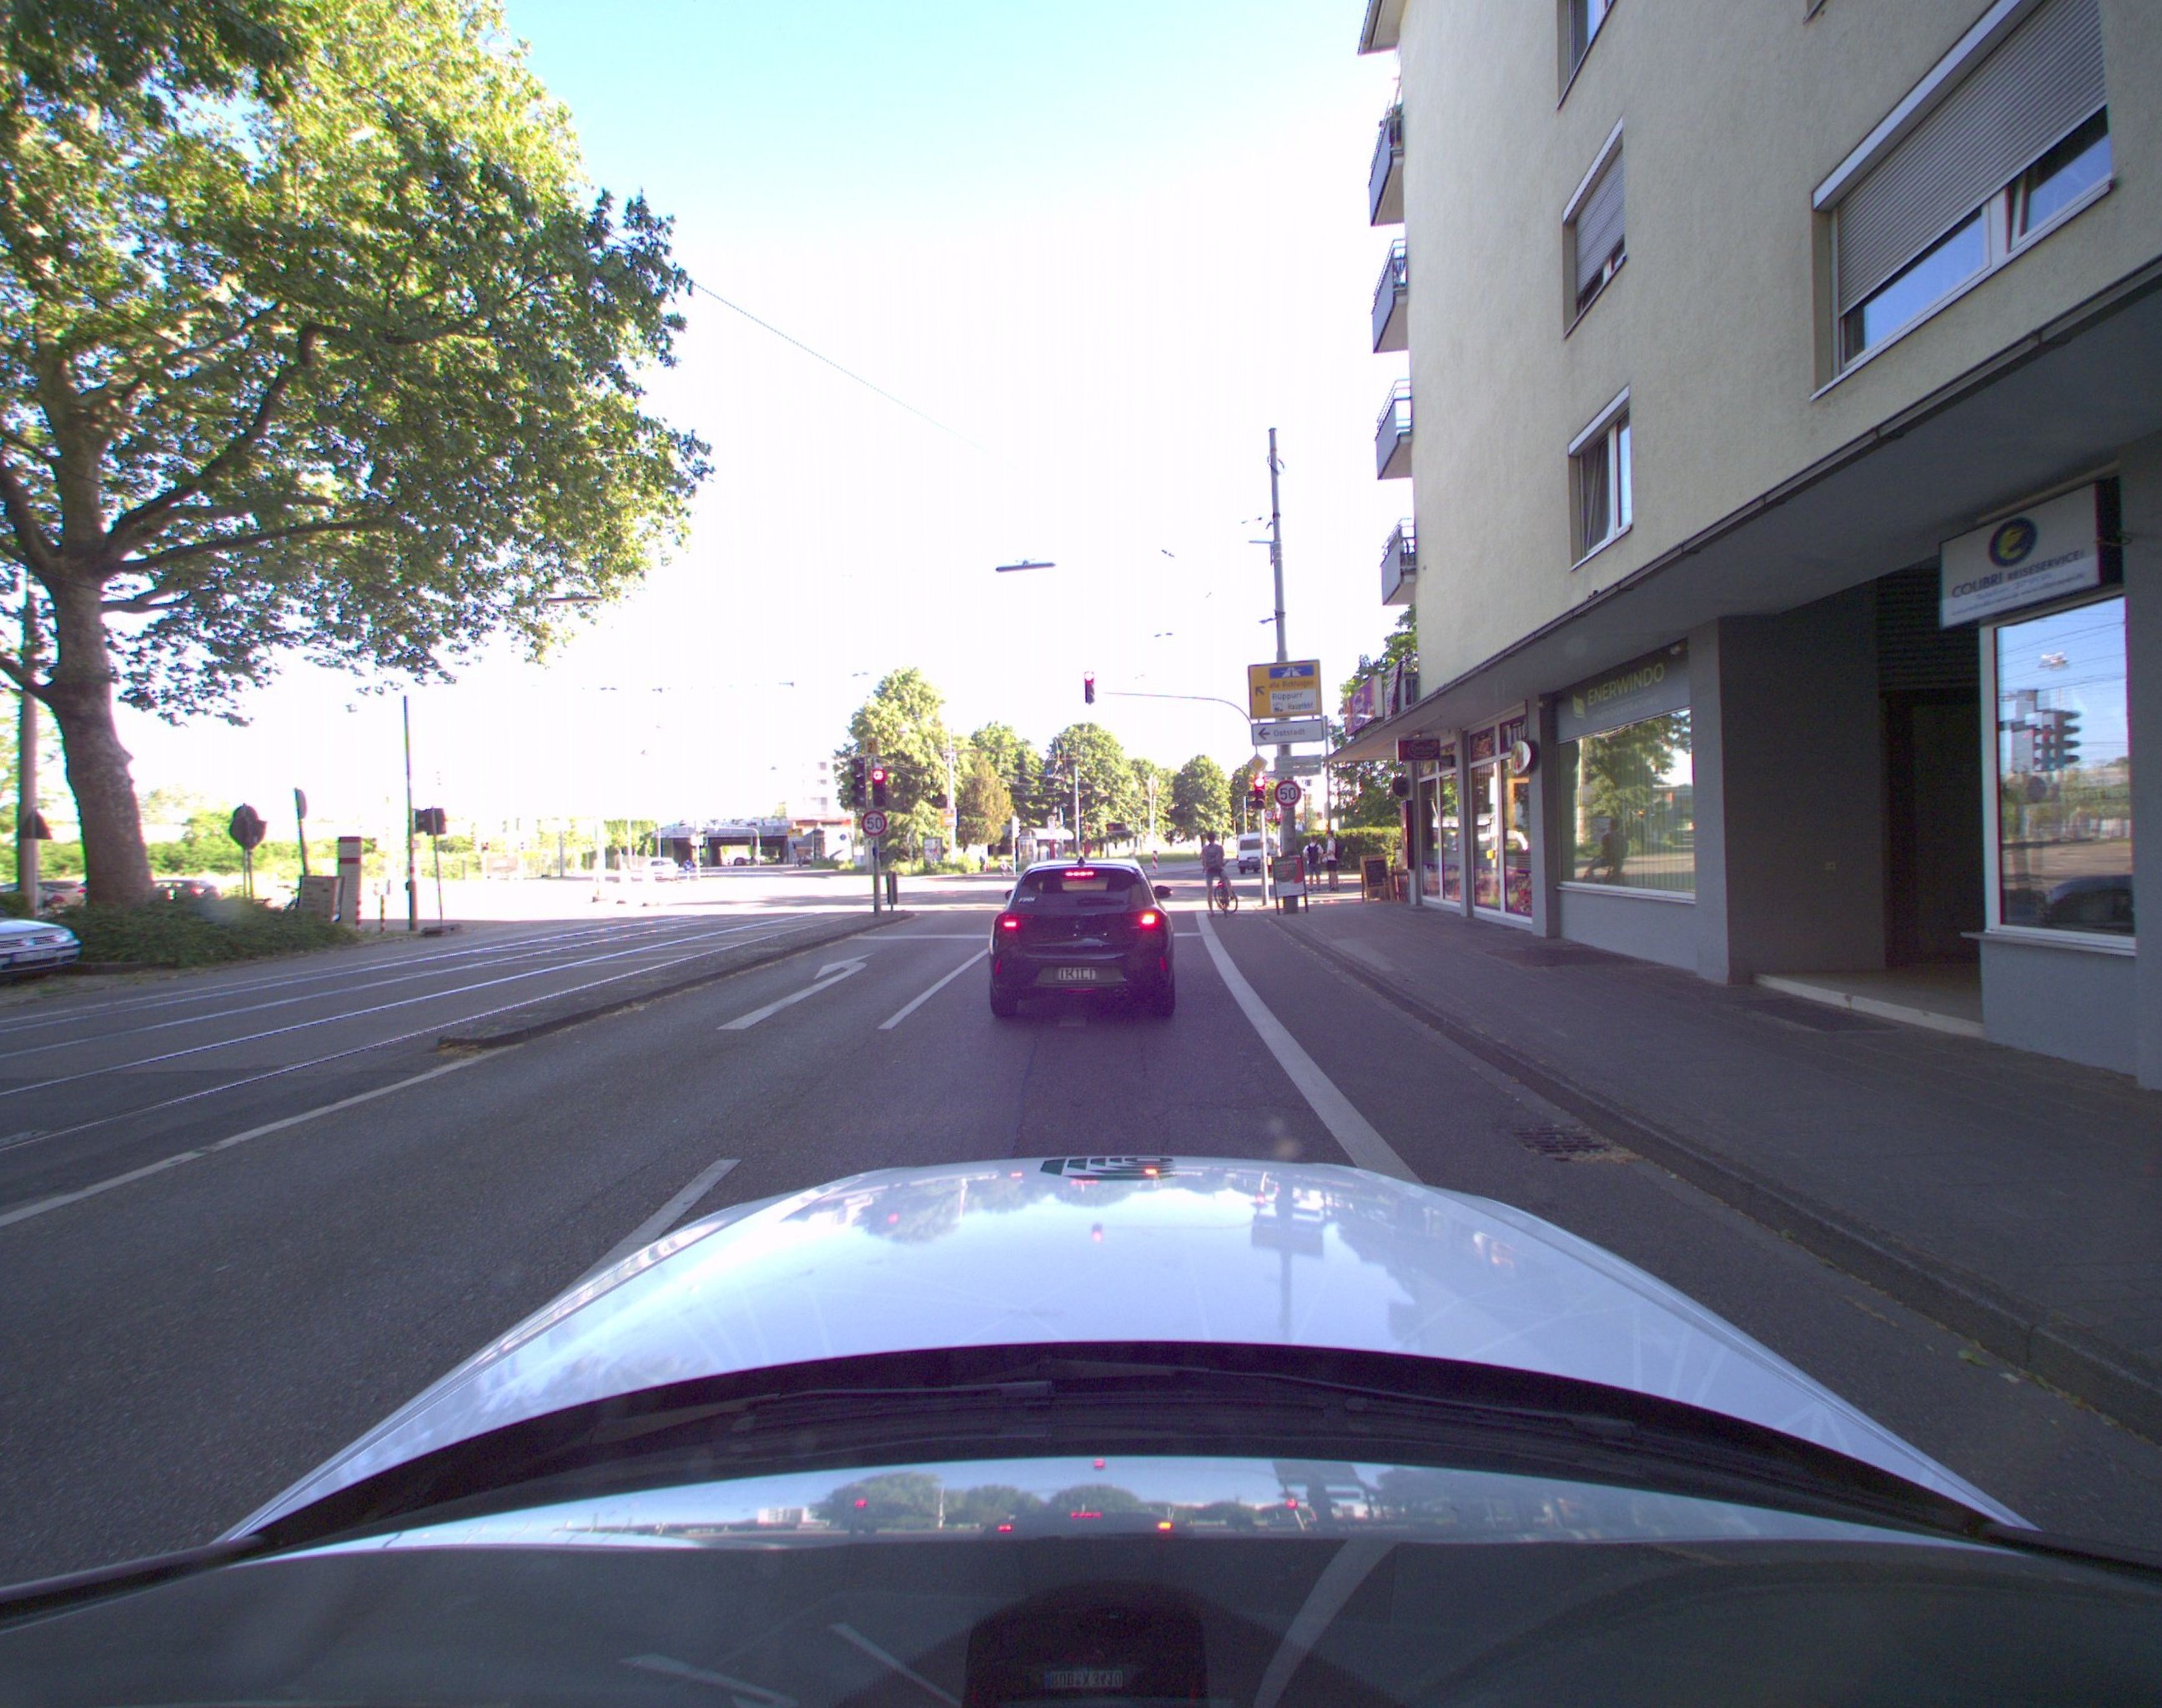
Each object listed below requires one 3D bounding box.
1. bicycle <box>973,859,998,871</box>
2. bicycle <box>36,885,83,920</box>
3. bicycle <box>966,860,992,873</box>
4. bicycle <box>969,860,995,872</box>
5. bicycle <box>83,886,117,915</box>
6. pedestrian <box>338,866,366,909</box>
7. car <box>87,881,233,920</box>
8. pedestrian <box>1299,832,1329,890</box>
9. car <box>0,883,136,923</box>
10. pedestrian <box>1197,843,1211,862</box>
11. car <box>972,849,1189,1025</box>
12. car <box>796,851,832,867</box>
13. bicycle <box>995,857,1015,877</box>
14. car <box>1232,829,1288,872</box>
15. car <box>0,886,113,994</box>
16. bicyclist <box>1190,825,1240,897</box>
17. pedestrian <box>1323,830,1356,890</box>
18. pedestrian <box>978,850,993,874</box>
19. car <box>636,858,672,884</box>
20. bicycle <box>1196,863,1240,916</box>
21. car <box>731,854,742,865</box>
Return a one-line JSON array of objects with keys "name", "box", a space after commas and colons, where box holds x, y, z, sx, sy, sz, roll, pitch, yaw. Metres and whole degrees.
[{"name": "bicycle", "box": [-7.745, 0.930, 66.079, 1.866, 0.906, 0.661, -2, 0, 8]}, {"name": "bicycle", "box": [-25.048, 1.175, 19.985, 0.360, 0.759, 1.759, -2, 0, -40]}, {"name": "bicycle", "box": [-8.048, 0.977, 64.229, 1.866, 0.906, 0.661, -2, 0, 8]}, {"name": "bicycle", "box": [-7.922, 0.924, 65.212, 1.866, 0.906, 0.661, -2, 0, 8]}, {"name": "bicycle", "box": [-26.373, 1.238, 21.891, 1.757, 0.759, 0.360, -1, 0, 32]}, {"name": "pedestrian", "box": [-27.816, 1.274, 31.063, 0.602, 1.596, 0.679, 0, -1, -24]}, {"name": "car", "box": [-43.171, 2.147, 38.310, 4.006, 1.419, 1.880, -1, 6, -25]}, {"name": "pedestrian", "box": [7.286, 0.219, 25.483, 0.696, 1.792, 0.617, -2, 0, 1]}, {"name": "car", "box": [-43.256, 2.041, 34.099, 4.310, 1.531, 2.080, 0, -1, -23]}, {"name": "pedestrian", "box": [11.916, -0.158, 78.870, 0.949, 1.793, 1.002, -2, 0, 27]}, {"name": "car", "box": [0.107, 0.696, 8.860, 1.793, 1.441, 3.943, -2, 0, 3]}, {"name": "car", "box": [-35.243, 0.636, 107.450, 3.957, 2.014, 2.008, -1, -1, 15]}, {"name": "bicycle", "box": [-4.362, 0.751, 46.922, 0.821, 1.059, 1.885, -2, 0, 4]}, {"name": "car", "box": [10.146, -0.173, 45.976, 2.070, 2.277, 4.331, -1, -1, 26]}, {"name": "car", "box": [-16.669, 1.203, 11.367, 3.980, 1.417, 1.701, 0, -1, -5]}, {"name": "bicyclist", "box": [2.925, 0.142, 17.935, 0.837, 1.510, 1.368, -2, 0, 0]}, {"name": "pedestrian", "box": [8.092, 0.185, 25.485, 0.696, 1.846, 0.705, -2, 0, 41]}, {"name": "pedestrian", "box": [-6.646, 0.561, 56.617, 0.718, 1.693, 0.705, -2, 0, 40]}, {"name": "car", "box": [-29.557, 1.125, 56.435, 2.004, 1.631, 4.591, -2, 1, -26]}, {"name": "bicycle", "box": [2.989, 0.751, 17.963, 0.665, 1.059, 2.083, -2, 0, 2]}, {"name": "car", "box": [-67.837, 1.075, 160.249, 2.003, 2.014, 3.967, 0, -1, -25]}]
